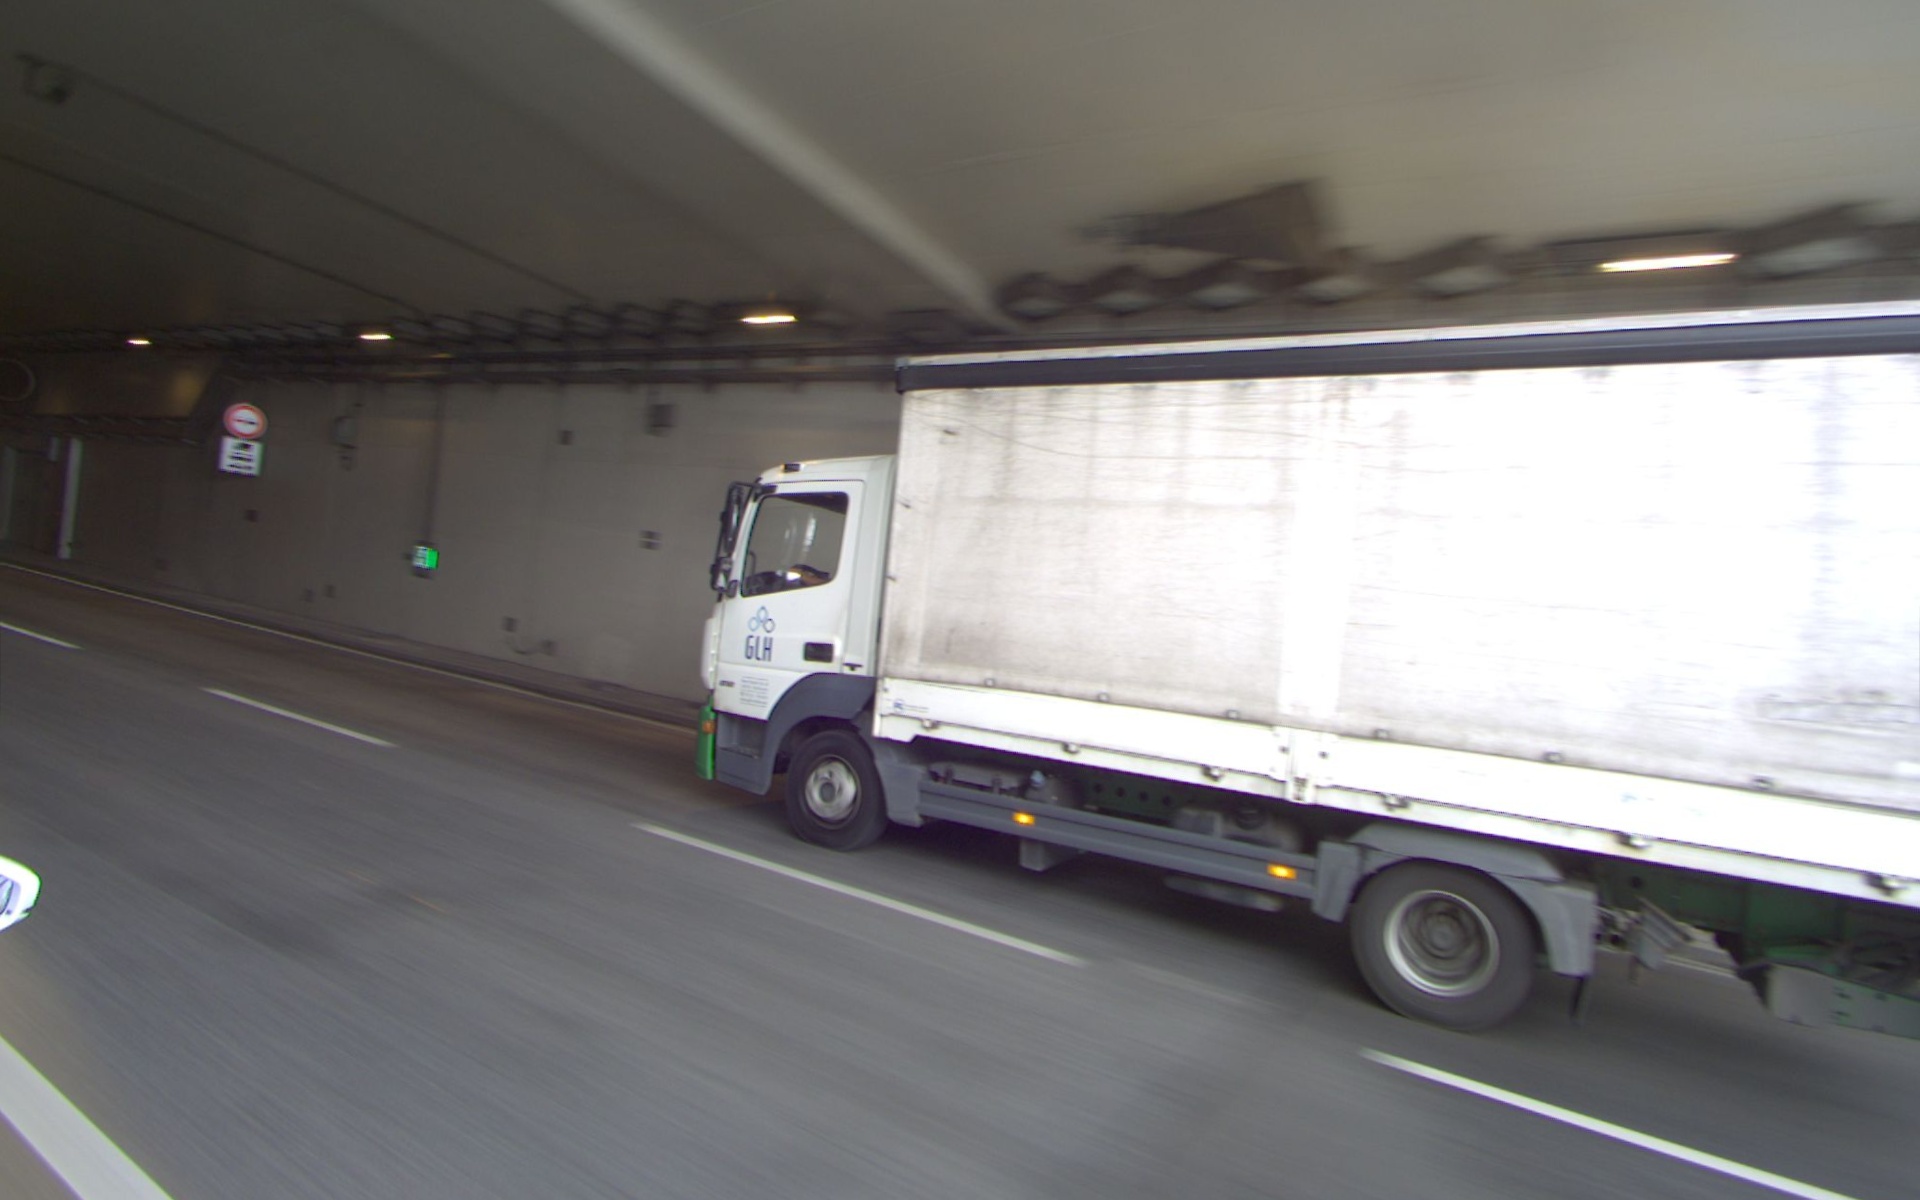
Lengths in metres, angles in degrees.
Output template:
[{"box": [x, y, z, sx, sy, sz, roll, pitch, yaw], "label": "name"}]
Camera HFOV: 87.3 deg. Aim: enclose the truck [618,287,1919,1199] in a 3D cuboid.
[{"box": [1.523, 0.220, 6.337, 7.302, 3.224, 2.653, 8, 1, 32], "label": "truck"}]
